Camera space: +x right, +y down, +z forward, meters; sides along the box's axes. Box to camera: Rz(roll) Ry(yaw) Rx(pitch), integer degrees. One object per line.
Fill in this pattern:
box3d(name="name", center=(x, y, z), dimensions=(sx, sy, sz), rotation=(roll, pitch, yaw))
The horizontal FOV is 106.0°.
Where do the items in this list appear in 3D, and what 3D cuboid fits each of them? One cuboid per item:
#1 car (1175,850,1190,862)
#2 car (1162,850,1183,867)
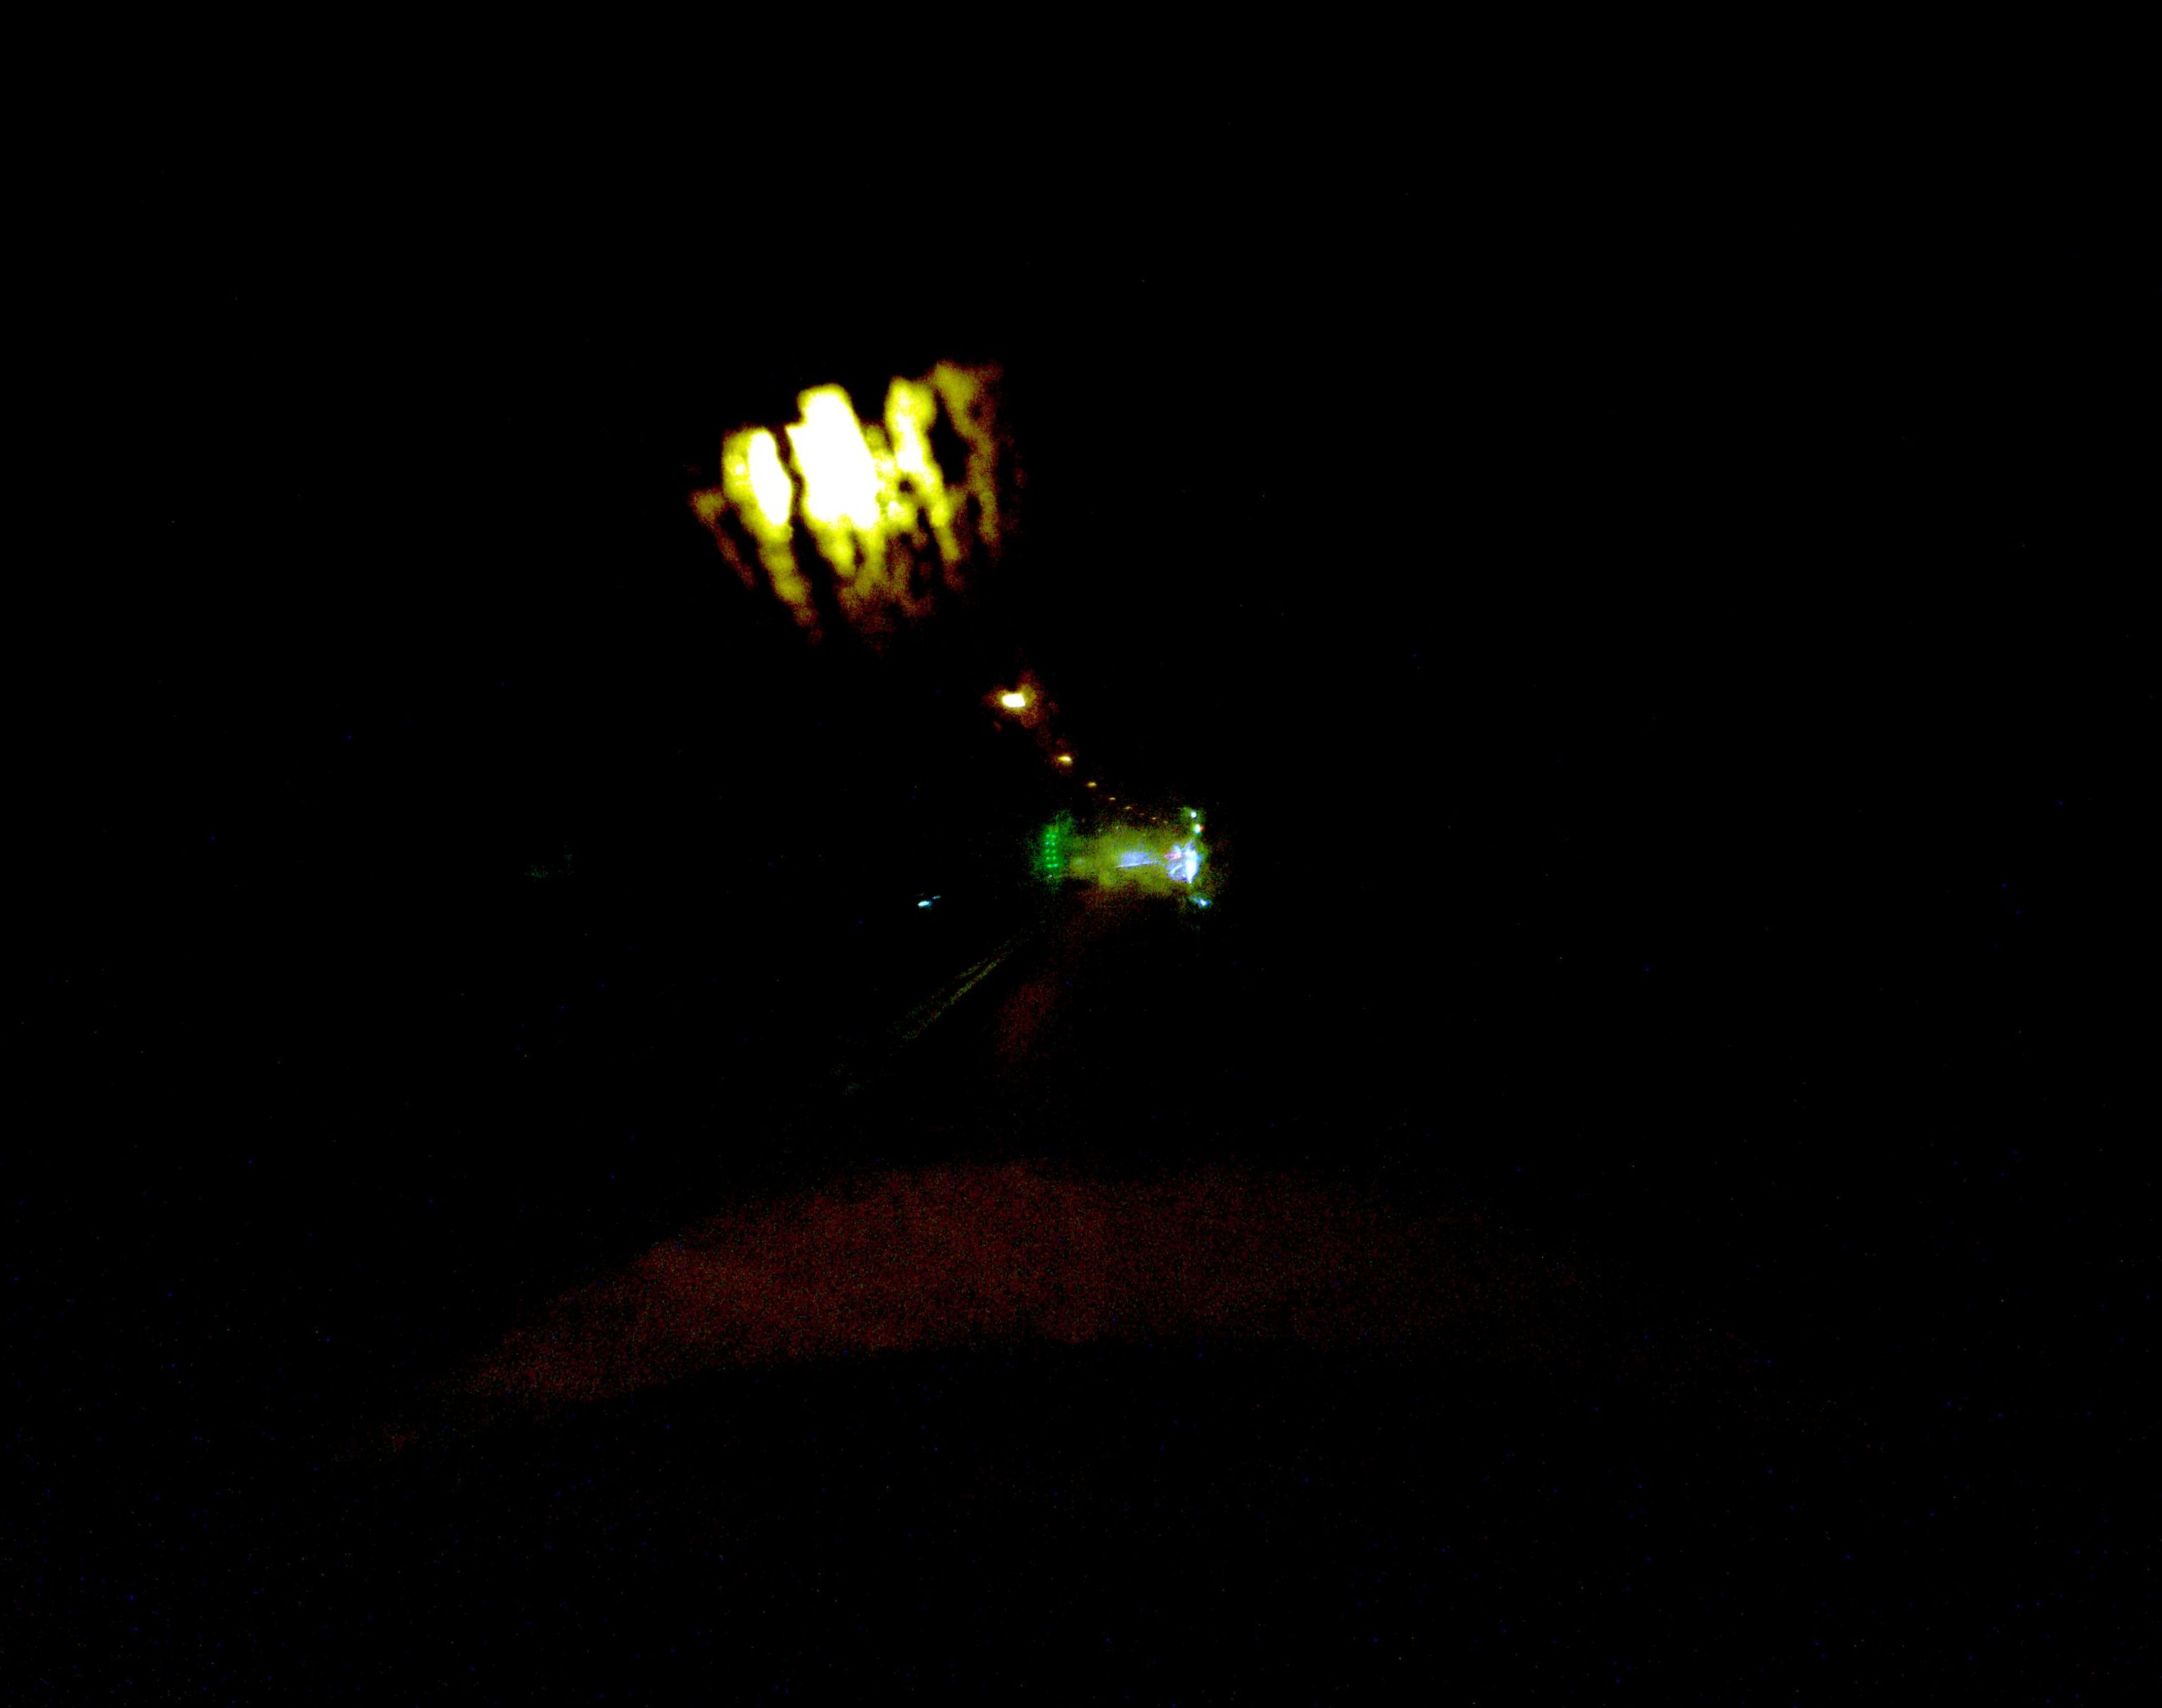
box3d(name="car", center=(14.874, 0.280, 119.425), dimensions=(1.981, 1.650, 4.011), rotation=(-1, 0, 10))
box3d(name="car", center=(9.267, 0.433, 82.049), dimensions=(1.982, 1.650, 4.009), rotation=(-1, 0, 8))
